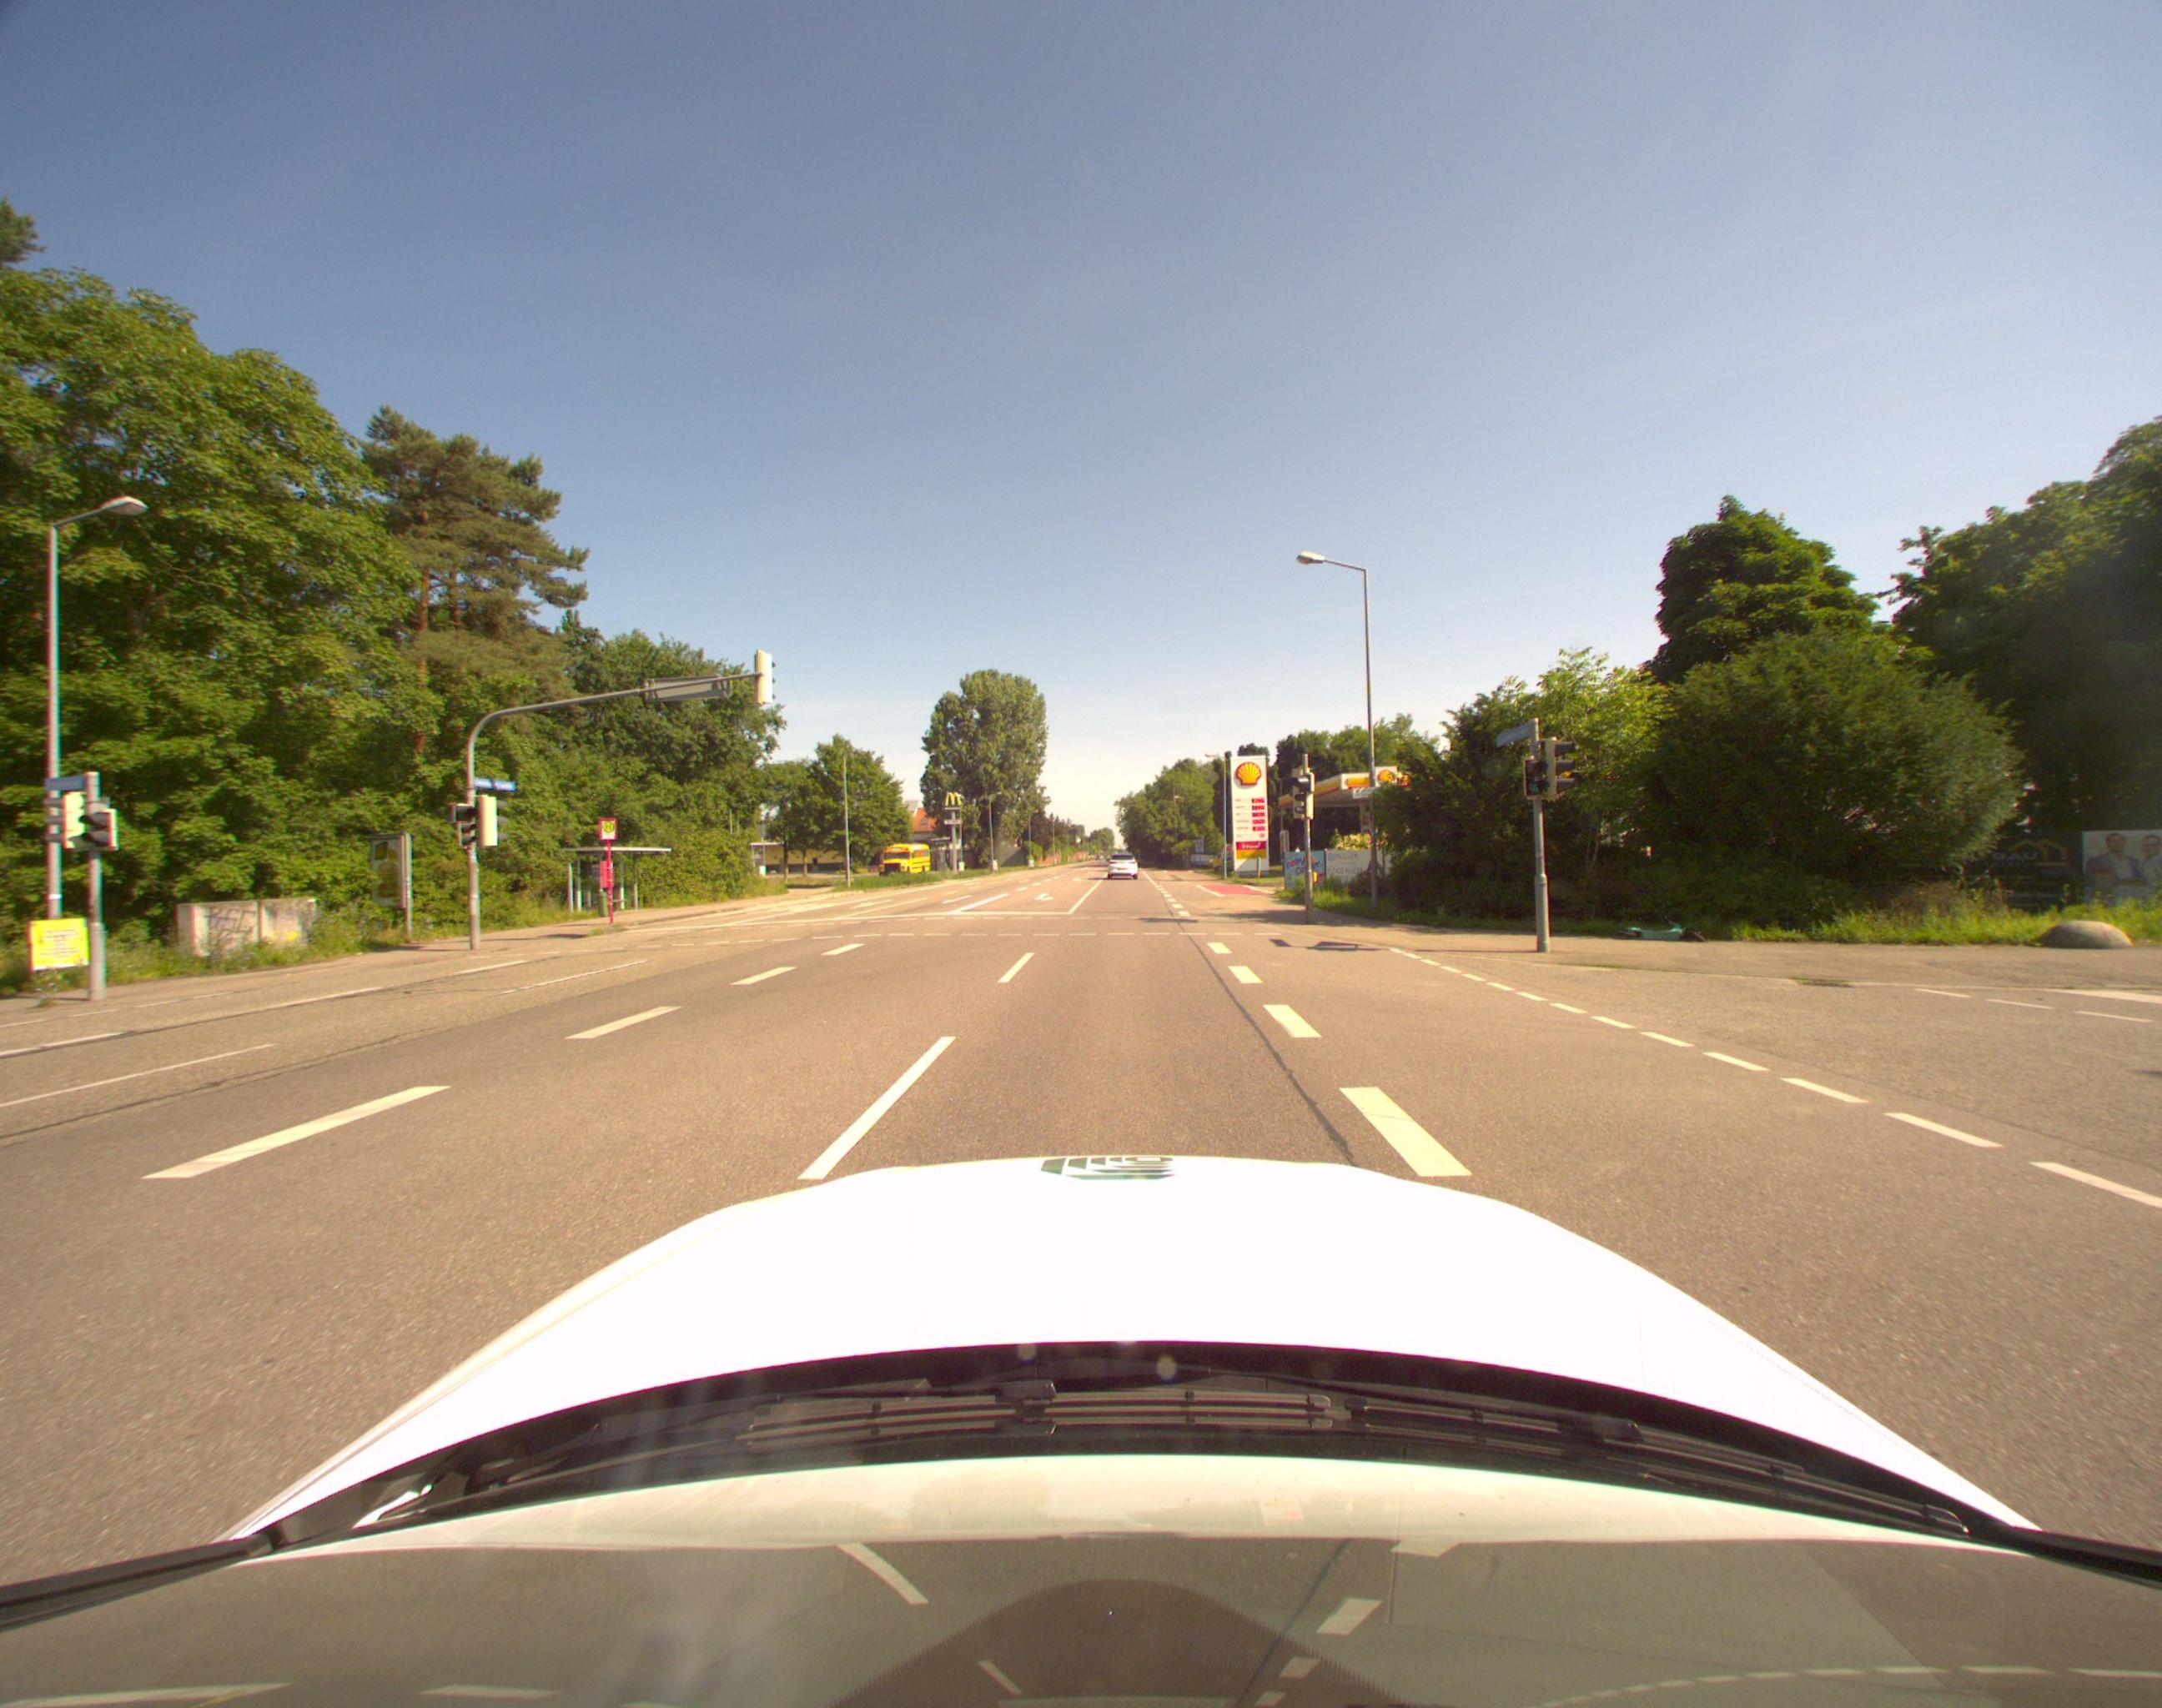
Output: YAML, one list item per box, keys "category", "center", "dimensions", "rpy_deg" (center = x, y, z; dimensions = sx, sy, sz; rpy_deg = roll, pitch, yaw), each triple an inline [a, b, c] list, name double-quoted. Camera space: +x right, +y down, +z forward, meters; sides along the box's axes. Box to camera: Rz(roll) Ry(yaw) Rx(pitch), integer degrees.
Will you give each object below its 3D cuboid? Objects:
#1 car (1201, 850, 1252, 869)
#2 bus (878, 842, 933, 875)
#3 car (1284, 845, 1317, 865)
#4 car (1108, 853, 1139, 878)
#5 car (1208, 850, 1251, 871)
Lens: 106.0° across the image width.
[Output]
- category: "car"
  center: [12.196, 0.461, 68.240]
  dimensions: [3.979, 1.530, 1.583]
  rpy_deg: [0, -1, -4]
- category: "bus"
  center: [-15.008, 0.380, 70.194]
  dimensions: [2.570, 2.679, 8.999]
  rpy_deg: [0, -1, 1]
- category: "car"
  center: [19.959, 0.074, 74.219]
  dimensions: [1.987, 1.766, 4.000]
  rpy_deg: [0, -1, 1]
- category: "car"
  center: [2.650, 0.705, 50.834]
  dimensions: [1.839, 1.541, 4.228]
  rpy_deg: [0, -1, 3]
- category: "car"
  center: [10.919, 0.486, 59.841]
  dimensions: [1.586, 1.530, 2.698]
  rpy_deg: [1, -2, -43]
